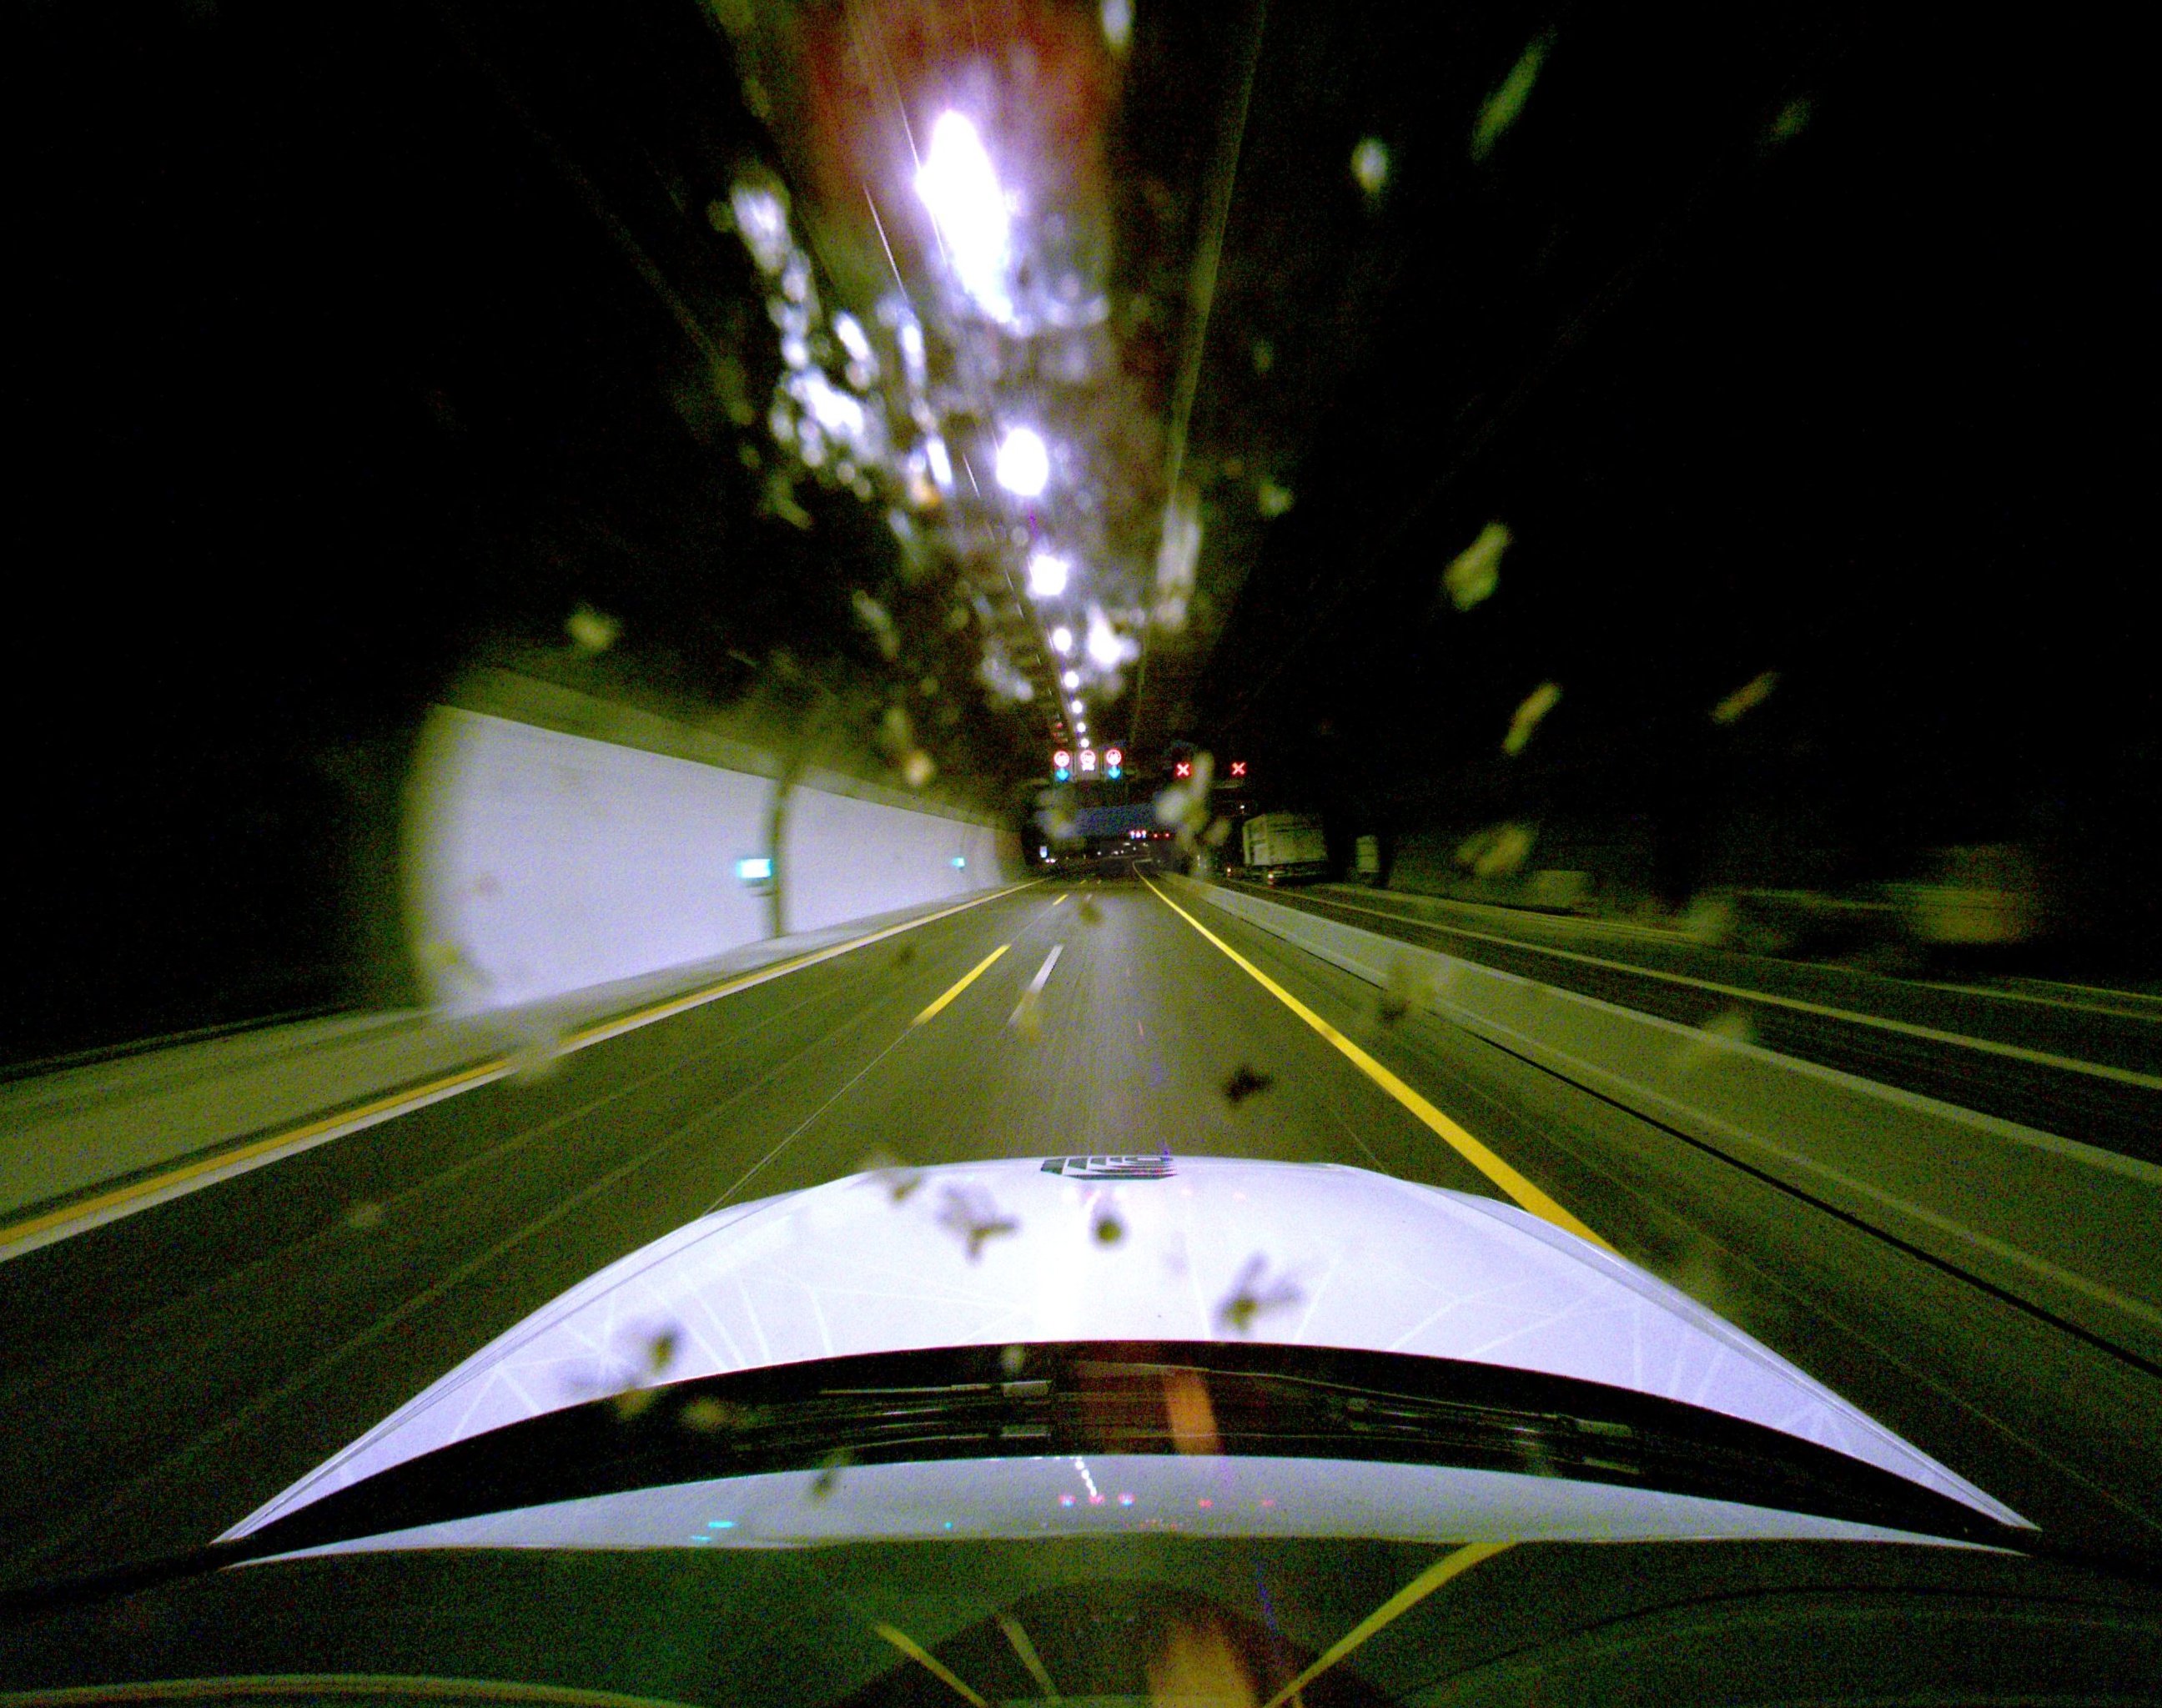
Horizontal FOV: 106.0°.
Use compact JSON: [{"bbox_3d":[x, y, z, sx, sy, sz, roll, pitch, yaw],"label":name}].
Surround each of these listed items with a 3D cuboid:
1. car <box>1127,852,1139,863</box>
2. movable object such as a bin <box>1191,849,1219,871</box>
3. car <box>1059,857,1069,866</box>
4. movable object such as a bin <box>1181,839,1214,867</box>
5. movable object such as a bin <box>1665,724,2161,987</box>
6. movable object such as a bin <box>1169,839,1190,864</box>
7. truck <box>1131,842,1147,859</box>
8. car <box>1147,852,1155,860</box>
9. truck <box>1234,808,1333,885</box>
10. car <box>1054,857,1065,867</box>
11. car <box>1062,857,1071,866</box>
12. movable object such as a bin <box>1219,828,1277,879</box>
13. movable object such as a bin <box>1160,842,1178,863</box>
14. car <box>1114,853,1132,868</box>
[{"bbox_3d":[9.543,0.601,149.411,1.983,2.013,4.008,-1,0,7],"label":"car"},{"bbox_3d":[10.918,0.511,71.955,1.971,1.816,3.838,-1,0,2],"label":"movable object such as a bin"},{"bbox_3d":[-3.913,1.822,189.928,1.986,2.014,4.002,-1,0,2],"label":"car"},{"bbox_3d":[12.022,-0.050,84.529,2.726,2.754,7.055,-1,0,3],"label":"movable object such as a bin"},{"bbox_3d":[9.365,0.024,9.756,1.750,2.380,4.001,-4,-1,1],"label":"movable object such as a bin"},{"bbox_3d":[14.948,-0.406,123.989,2.726,3.679,6.338,-1,0,3],"label":"movable object such as a bin"},{"bbox_3d":[17.268,-0.901,243.851,4.527,4.987,9.607,-1,0,3],"label":"truck"},{"bbox_3d":[19.970,0.535,232.083,1.985,2.013,4.003,-1,0,3],"label":"car"},{"bbox_3d":[9.429,-0.290,38.958,2.881,3.272,8.405,-1,0,2],"label":"truck"},{"bbox_3d":[-4.729,1.768,179.847,1.986,2.014,4.002,-1,0,2],"label":"car"},{"bbox_3d":[-3.546,1.863,196.847,1.986,2.014,4.002,-1,0,2],"label":"car"},{"bbox_3d":[9.911,0.007,49.016,2.229,2.794,7.236,-1,0,2],"label":"movable object such as a bin"},{"bbox_3d":[15.422,-0.264,143.156,2.726,3.455,6.952,-1,0,3],"label":"movable object such as a bin"},{"bbox_3d":[4.527,0.689,87.929,1.879,1.607,4.004,-1,0,3],"label":"car"}]
